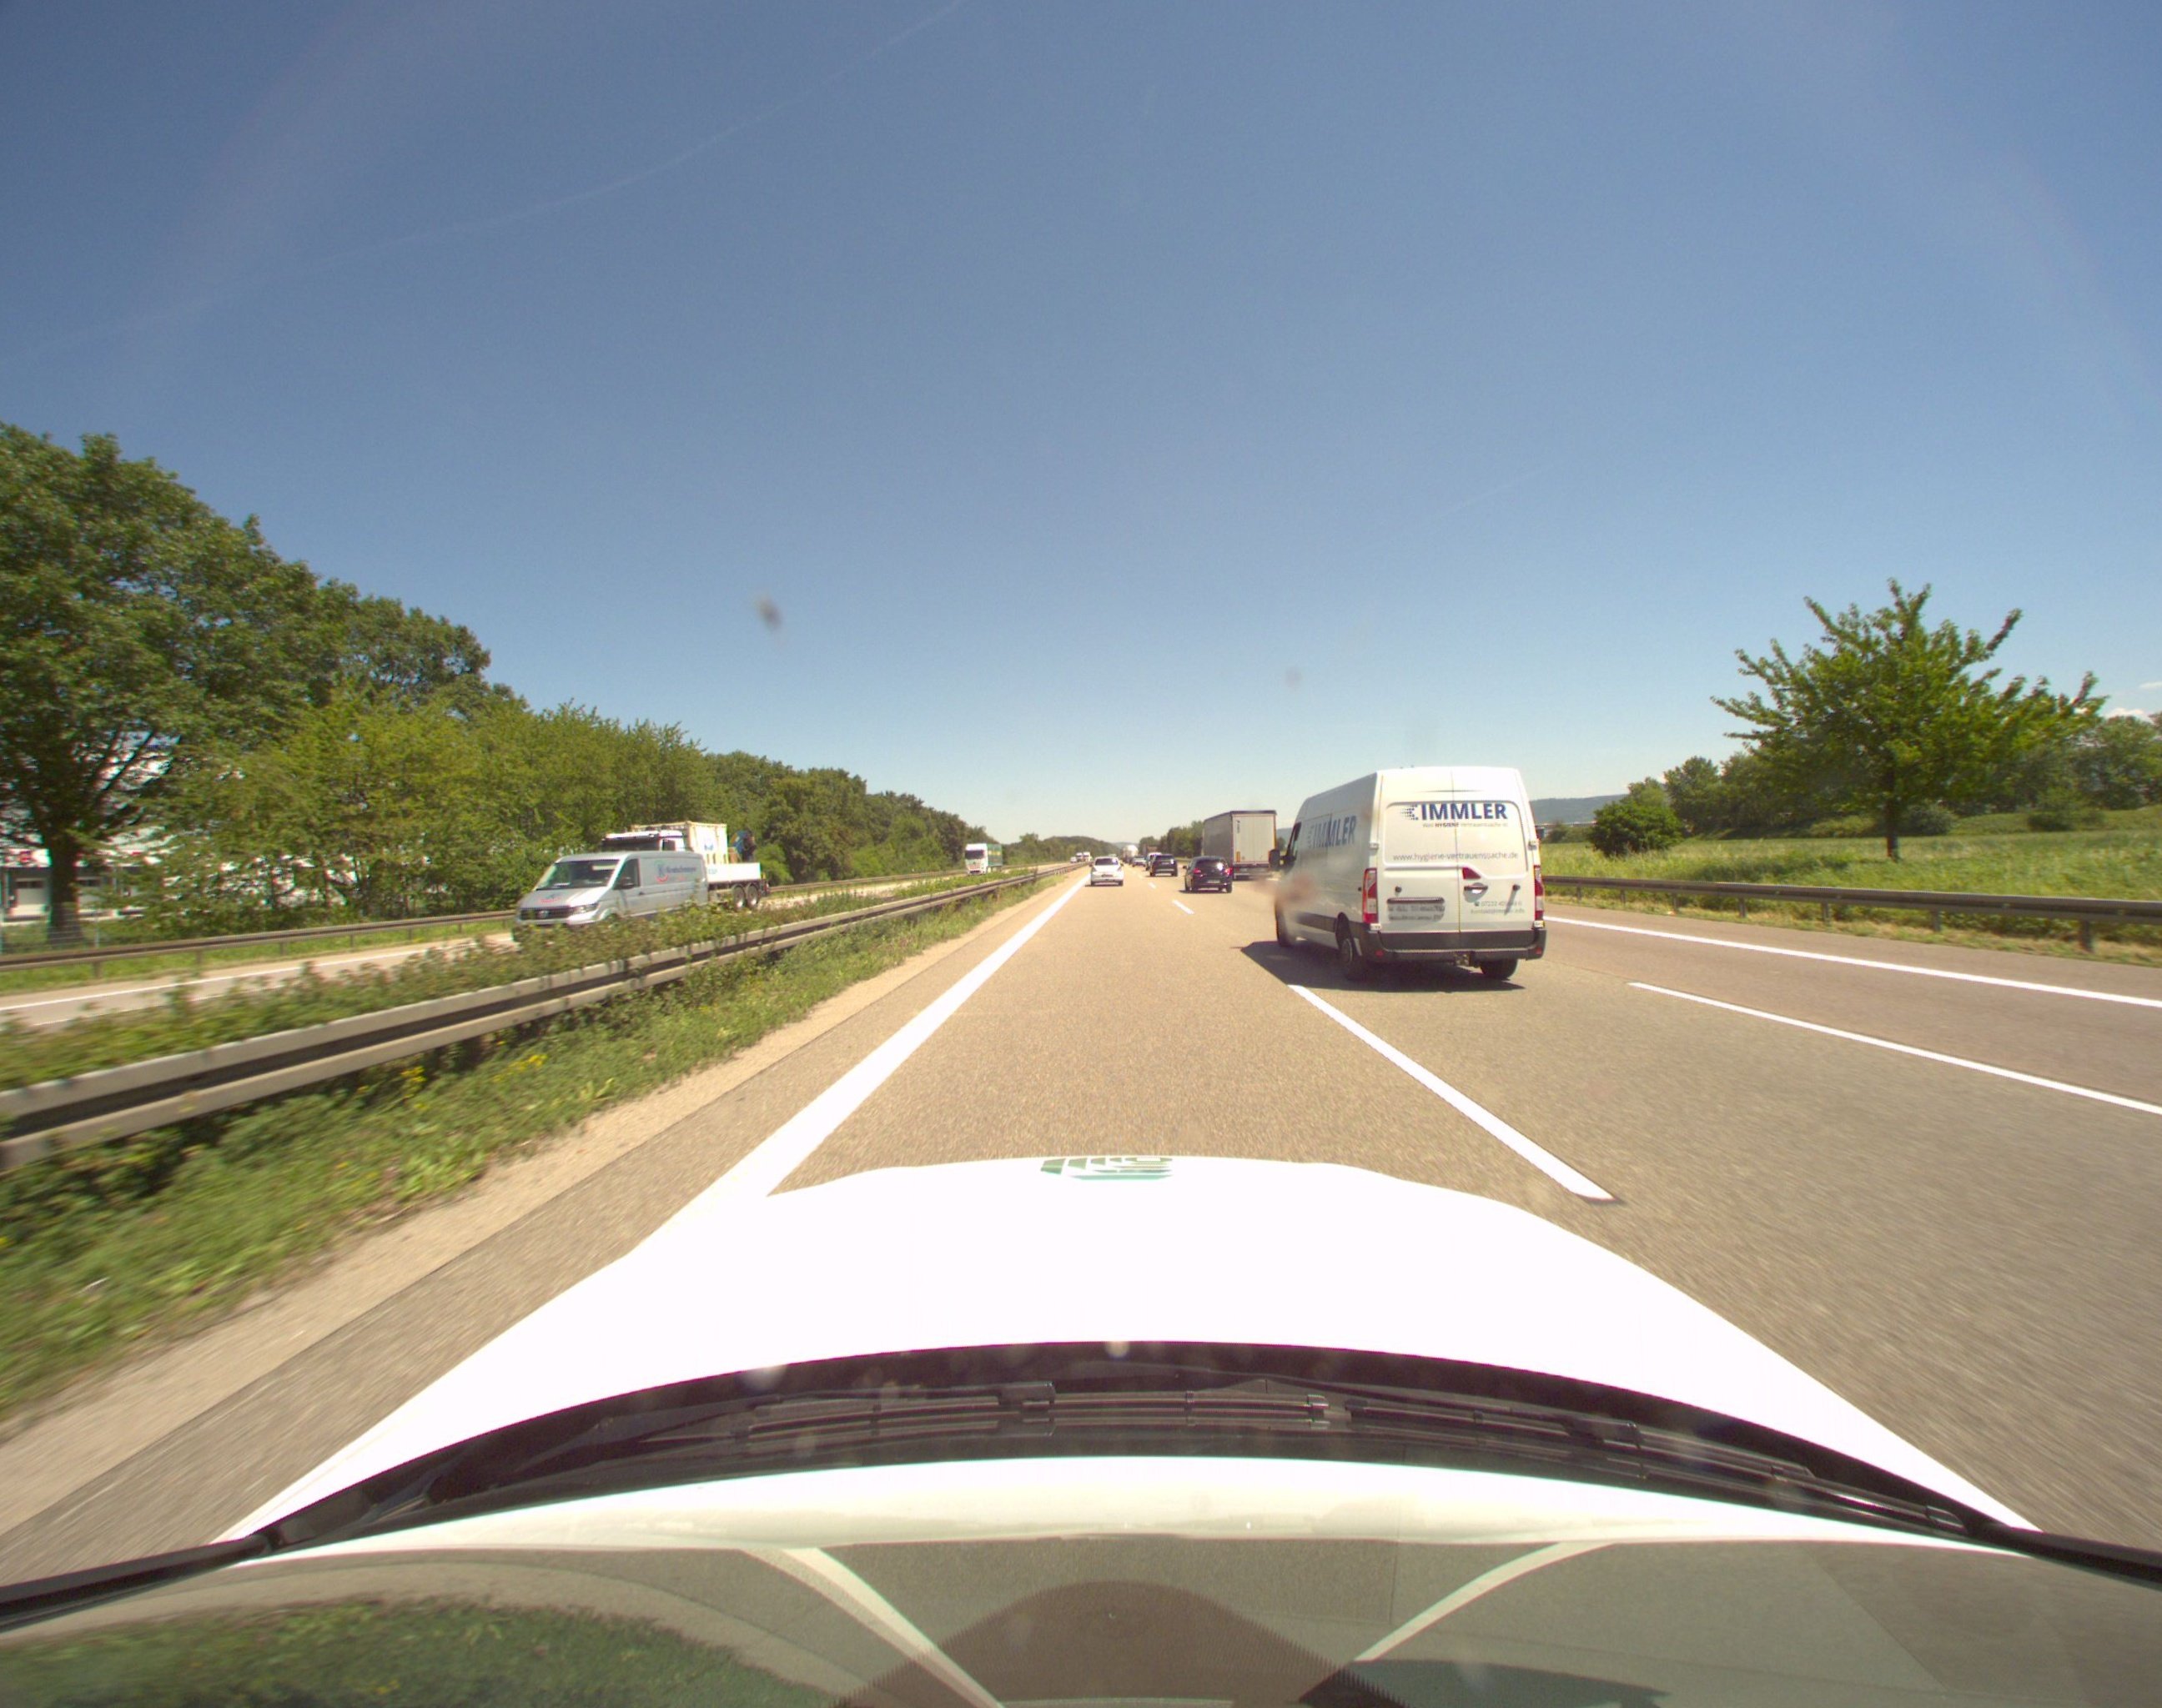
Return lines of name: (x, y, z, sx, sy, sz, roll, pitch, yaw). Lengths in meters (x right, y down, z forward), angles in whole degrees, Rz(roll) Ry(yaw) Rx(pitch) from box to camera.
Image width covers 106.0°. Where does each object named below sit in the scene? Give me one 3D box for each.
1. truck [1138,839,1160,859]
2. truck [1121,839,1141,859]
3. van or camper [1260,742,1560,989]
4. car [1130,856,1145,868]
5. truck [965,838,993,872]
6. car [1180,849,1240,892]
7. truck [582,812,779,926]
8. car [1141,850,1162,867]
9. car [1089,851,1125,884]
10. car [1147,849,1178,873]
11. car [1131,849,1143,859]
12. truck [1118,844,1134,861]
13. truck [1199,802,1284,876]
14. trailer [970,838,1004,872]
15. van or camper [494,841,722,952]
truck: (14.932, -1.145, 179.361, 3.248, 4.209, 16.838, 0, 0, 0)
truck: (10.818, -1.140, 178.335, 3.248, 4.209, 16.838, 0, 0, 0)
van or camper: (4.199, 0.122, 11.764, 2.050, 2.622, 5.988, -1, 0, 2)
car: (7.844, 1.085, 113.216, 1.851, 1.652, 4.000, -1, 0, 0)
truck: (-12.741, 0.063, 102.059, 2.408, 4.093, 5.883, -1, 0, 2)
car: (5.270, 0.641, 33.739, 1.851, 1.652, 4.000, -1, 0, 0)
truck: (-15.641, 0.496, 33.005, 2.595, 3.761, 9.870, -3, 0, 2)
car: (7.239, 0.424, 83.989, 1.851, 1.652, 4.000, -1, 0, 0)
car: (1.331, 0.677, 43.041, 1.851, 1.652, 4.000, 0, 0, 0)
car: (5.963, 0.509, 59.733, 1.851, 1.652, 4.000, -1, 0, 0)
car: (9.654, 0.046, 140.331, 1.851, 1.652, 4.000, -1, 0, 0)
truck: (11.861, -0.430, 217.560, 3.248, 4.209, 16.838, 0, 0, 0)
truck: (10.268, -0.855, 54.255, 3.067, 4.209, 16.853, 0, 0, 2)
trailer: (-12.491, 0.049, 109.462, 2.437, 4.228, 13.642, -1, 0, 2)
van or camper: (-11.806, 0.926, 21.046, 2.050, 2.353, 6.078, -3, 0, 2)
